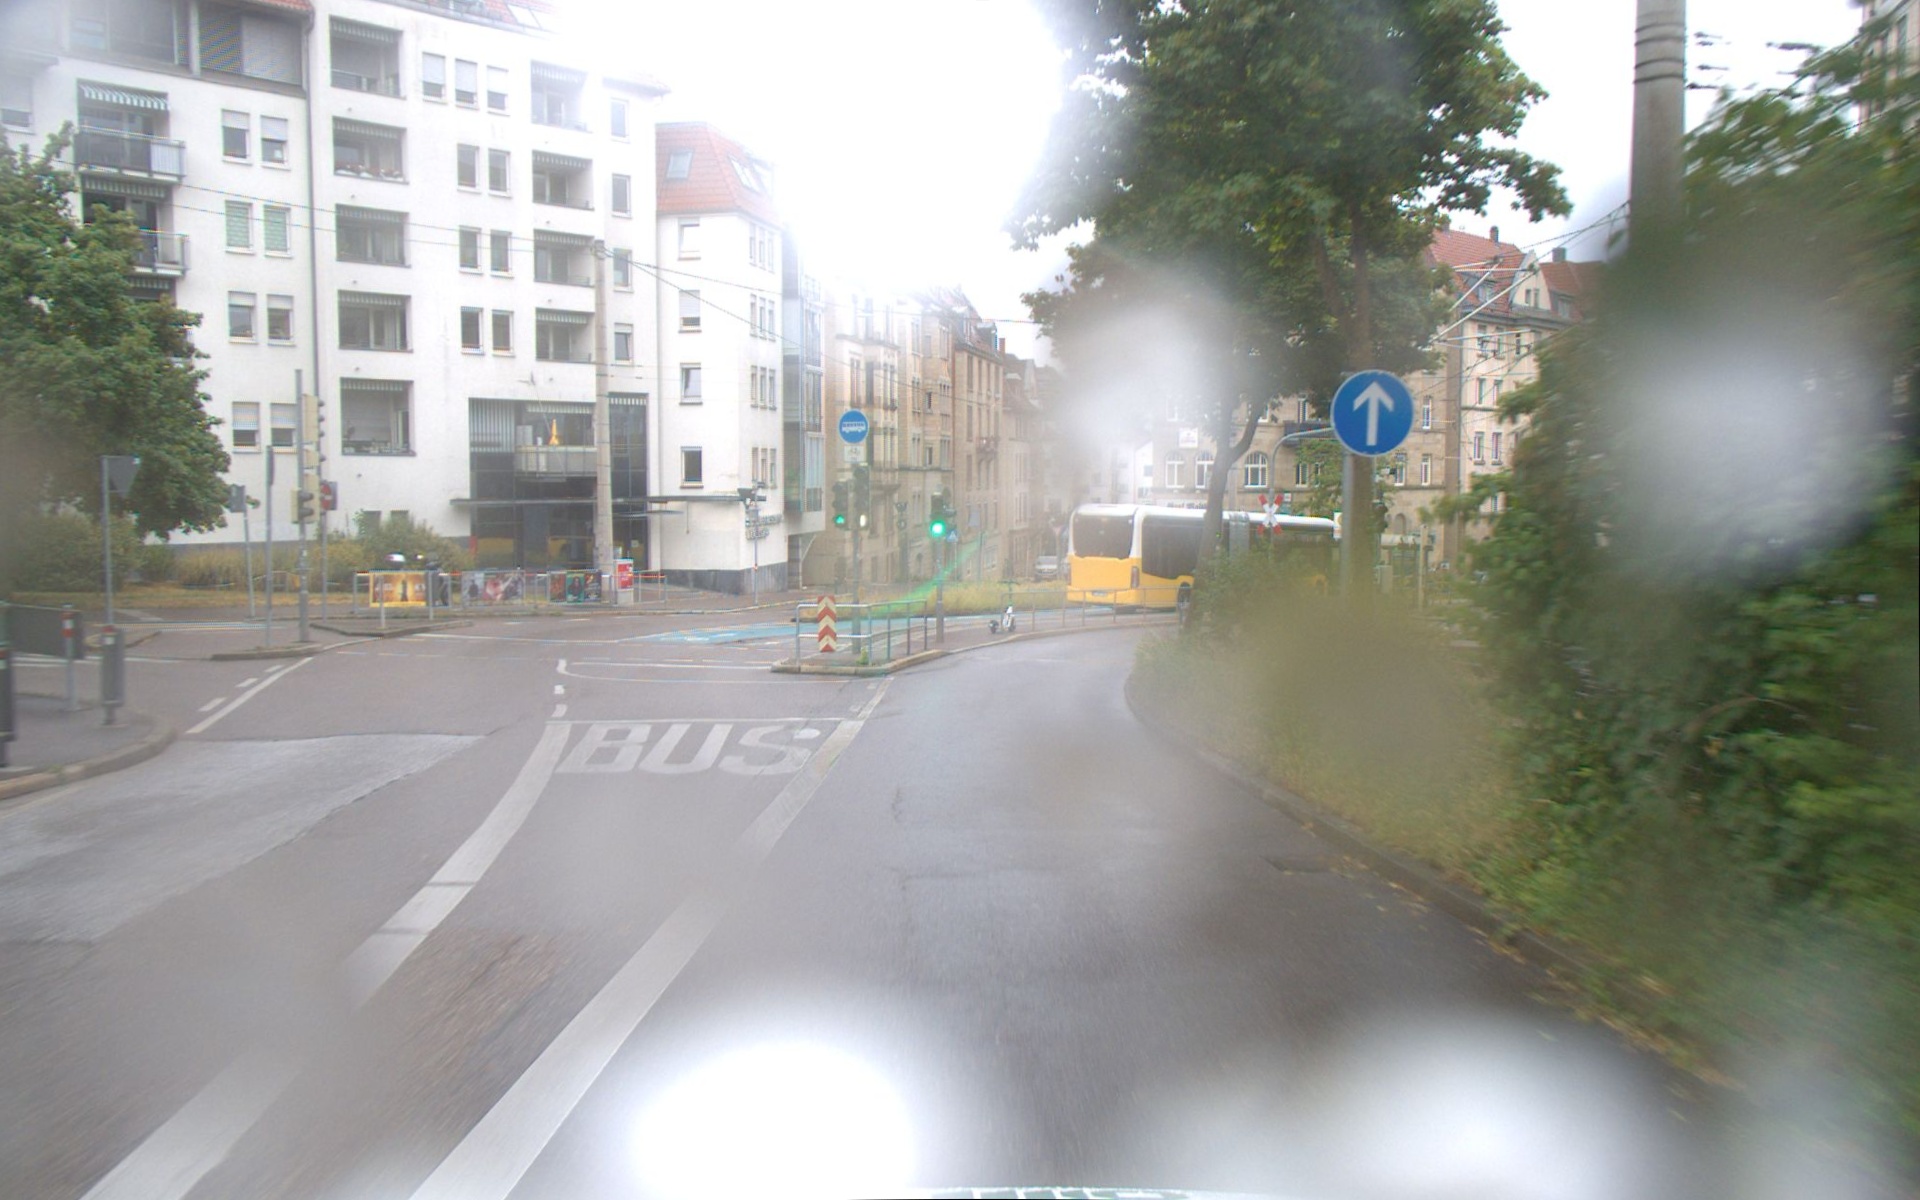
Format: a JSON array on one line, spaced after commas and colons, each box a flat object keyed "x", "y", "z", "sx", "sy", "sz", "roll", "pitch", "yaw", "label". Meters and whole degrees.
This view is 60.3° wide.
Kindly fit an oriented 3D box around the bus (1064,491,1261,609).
[{"x": 6.799, "y": -1.546, "z": 53.981, "sx": 2.545, "sy": 3.529, "sz": 9.080, "roll": 2, "pitch": 1, "yaw": 33, "label": "bus"}]

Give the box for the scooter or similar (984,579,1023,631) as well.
[{"x": 0.995, "y": 0.105, "z": 37.599, "sx": 0.424, "sy": 1.133, "sz": 1.606, "roll": 3, "pitch": 2, "yaw": 18, "label": "scooter or similar"}]

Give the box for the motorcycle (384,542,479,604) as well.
[{"x": -14.102, "y": -0.704, "z": 44.169, "sx": 0.685, "sy": 1.577, "sz": 2.432, "roll": 6, "pitch": 3, "yaw": 34, "label": "motorcycle"}]

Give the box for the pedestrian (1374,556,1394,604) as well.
[{"x": 15.913, "y": -0.752, "z": 62.114, "sx": 0.565, "sy": 1.782, "sz": 0.542, "roll": 2, "pitch": 1, "yaw": 31, "label": "pedestrian"}]

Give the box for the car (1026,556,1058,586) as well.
[{"x": 6.288, "y": -2.225, "z": 126.743, "sx": 2.094, "sy": 2.174, "sz": 4.856, "roll": 2, "pitch": 1, "yaw": -1, "label": "car"}]
